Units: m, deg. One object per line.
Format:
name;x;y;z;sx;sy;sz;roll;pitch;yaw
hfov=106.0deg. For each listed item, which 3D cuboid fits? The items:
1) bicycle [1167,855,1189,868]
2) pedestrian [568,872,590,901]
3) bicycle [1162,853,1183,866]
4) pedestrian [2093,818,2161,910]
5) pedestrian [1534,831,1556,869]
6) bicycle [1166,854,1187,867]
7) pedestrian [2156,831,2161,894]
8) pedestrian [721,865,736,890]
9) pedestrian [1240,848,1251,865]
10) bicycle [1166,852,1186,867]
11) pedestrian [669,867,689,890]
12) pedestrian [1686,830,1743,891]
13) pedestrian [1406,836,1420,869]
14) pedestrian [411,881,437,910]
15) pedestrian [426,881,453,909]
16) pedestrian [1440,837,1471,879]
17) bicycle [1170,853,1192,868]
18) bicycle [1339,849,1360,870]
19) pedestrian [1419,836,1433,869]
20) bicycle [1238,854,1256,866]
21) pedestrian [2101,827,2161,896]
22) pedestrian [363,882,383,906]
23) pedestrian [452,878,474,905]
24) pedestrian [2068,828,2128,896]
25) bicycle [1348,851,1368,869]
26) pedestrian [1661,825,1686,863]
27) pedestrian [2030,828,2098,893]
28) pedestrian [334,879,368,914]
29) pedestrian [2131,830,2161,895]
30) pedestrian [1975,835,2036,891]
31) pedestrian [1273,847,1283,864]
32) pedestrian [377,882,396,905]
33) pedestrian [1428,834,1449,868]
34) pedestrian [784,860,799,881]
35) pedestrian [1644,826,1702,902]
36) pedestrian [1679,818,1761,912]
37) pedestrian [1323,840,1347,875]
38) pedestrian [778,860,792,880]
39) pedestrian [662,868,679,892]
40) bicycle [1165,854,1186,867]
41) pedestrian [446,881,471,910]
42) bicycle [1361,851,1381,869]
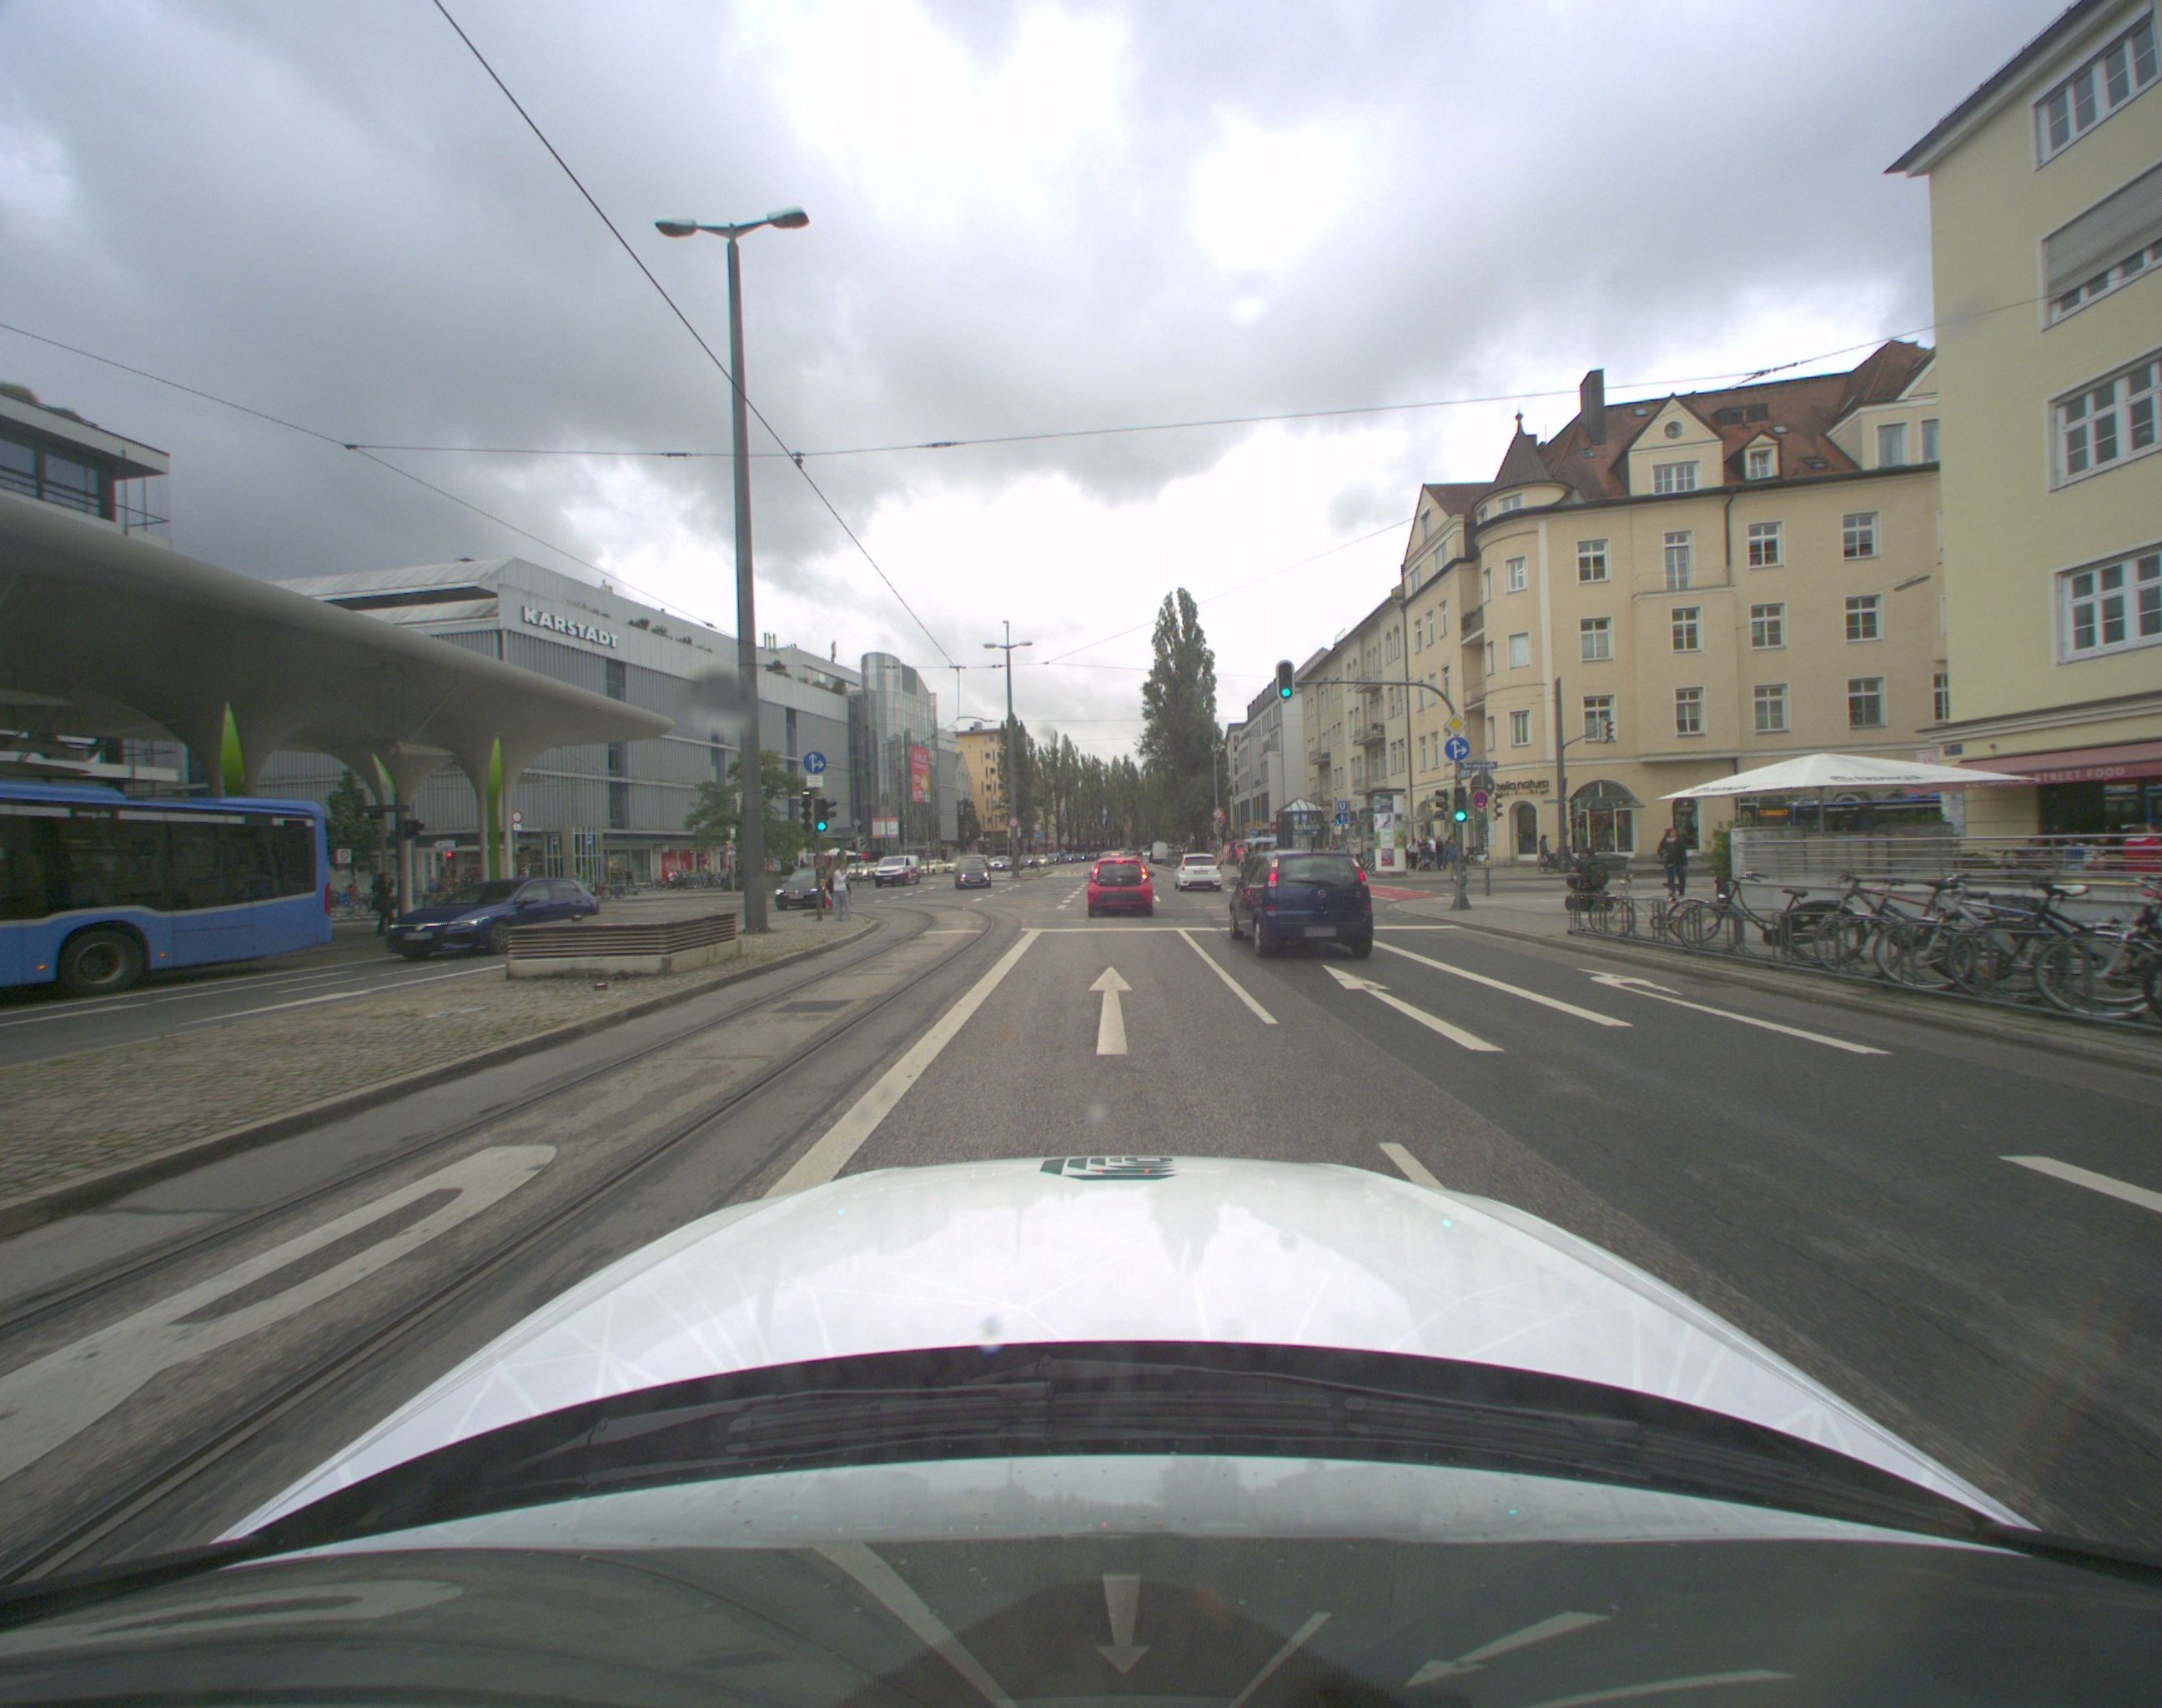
bicycle;8.213;0.605;68.900;1.815;1.052;0.590;-2;0;45
pedestrian;-29.210;1.884;47.386;0.840;1.618;0.806;-2;0;-13
bicycle;8.455;0.498;75.319;1.814;1.136;0.590;-2;0;38
pedestrian;16.848;0.150;12.964;0.673;1.422;0.617;-2;0;2
pedestrian;21.596;-0.186;37.924;0.675;1.684;0.750;-2;3;13
bicycle;8.400;0.554;71.629;1.815;1.136;0.590;-2;0;45
pedestrian;20.351;0.155;14.965;0.476;1.166;0.527;-2;0;0
pedestrian;-25.412;1.688;58.687;0.791;1.687;0.853;-2;0;-33
pedestrian;15.000;0.240;74.278;0.805;1.522;0.801;-2;0;3
bicycle;8.527;0.505;73.055;1.815;1.241;0.590;-2;0;45
pedestrian;-28.601;1.705;57.968;0.791;1.581;0.980;-2;0;13
pedestrian;16.566;0.178;21.320;0.730;1.540;0.887;-2;0;-13
pedestrian;16.982;-0.079;41.643;0.560;1.670;0.565;-1;3;24
pedestrian;-39.176;2.455;48.547;0.794;1.654;0.855;-2;0;13
pedestrian;-38.247;2.457;48.543;0.734;1.588;0.952;-2;0;13
pedestrian;16.228;0.159;35.337;0.928;1.755;1.068;-2;0;9
bicycle;8.187;0.556;66.709;1.815;1.168;0.590;-2;0;45
bicycle;14.603;0.292;44.401;0.564;1.107;1.867;-2;0;2
pedestrian;17.681;-0.082;41.761;0.556;1.609;0.570;-2;3;15
bicycle;12.944;0.451;63.532;1.287;0.915;0.369;-2;0;3
pedestrian;20.524;0.142;15.921;0.476;1.299;0.527;-2;0;0
pedestrian;-47.156;2.678;54.251;0.675;1.552;0.658;-2;0;10
pedestrian;-40.335;2.454;53.159;0.782;1.687;0.786;-2;0;7
pedestrian;19.816;0.151;15.871;0.476;1.299;0.527;-2;0;0
bicycle;15.102;0.313;44.369;0.492;0.975;1.867;-2;0;2
pedestrian;27.350;-0.474;37.590;0.676;1.705;0.749;-2;3;11
pedestrian;20.341;0.134;16.860;0.512;1.292;0.703;-2;0;0
pedestrian;-35.182;2.034;39.253;0.851;1.642;0.791;-2;0;6
pedestrian;19.821;0.154;14.906;0.476;1.166;0.527;-2;0;0
pedestrian;20.274;0.190;17.866;0.512;1.182;0.703;-2;0;0
pedestrian;17.578;0.157;72.693;0.573;1.505;0.620;-2;0;33
pedestrian;-47.036;2.676;55.180;0.675;1.552;0.658;-2;0;10
pedestrian;18.201;-0.169;41.457;0.648;1.705;0.727;-4;3;-27
pedestrian;-21.776;1.263;61.220;0.756;1.554;0.763;-2;0;-42
pedestrian;13.628;0.217;18.748;0.762;1.695;0.762;-2;0;-24
pedestrian;12.358;0.212;15.770;0.882;1.743;0.854;-2;0;-15
pedestrian;12.631;0.185;40.502;0.826;1.691;0.825;-2;0;39
pedestrian;-21.878;1.184;60.247;0.754;1.493;0.765;-2;0;-33
pedestrian;-27.660;1.756;54.893;0.633;1.574;0.723;-2;0;13
bicycle;8.412;0.560;72.391;1.815;1.136;0.590;-2;0;45
pedestrian;-37.015;2.460;48.433;0.781;1.642;0.861;-2;0;13
bicycle;15.779;0.314;44.355;0.492;0.975;1.867;-2;0;2
